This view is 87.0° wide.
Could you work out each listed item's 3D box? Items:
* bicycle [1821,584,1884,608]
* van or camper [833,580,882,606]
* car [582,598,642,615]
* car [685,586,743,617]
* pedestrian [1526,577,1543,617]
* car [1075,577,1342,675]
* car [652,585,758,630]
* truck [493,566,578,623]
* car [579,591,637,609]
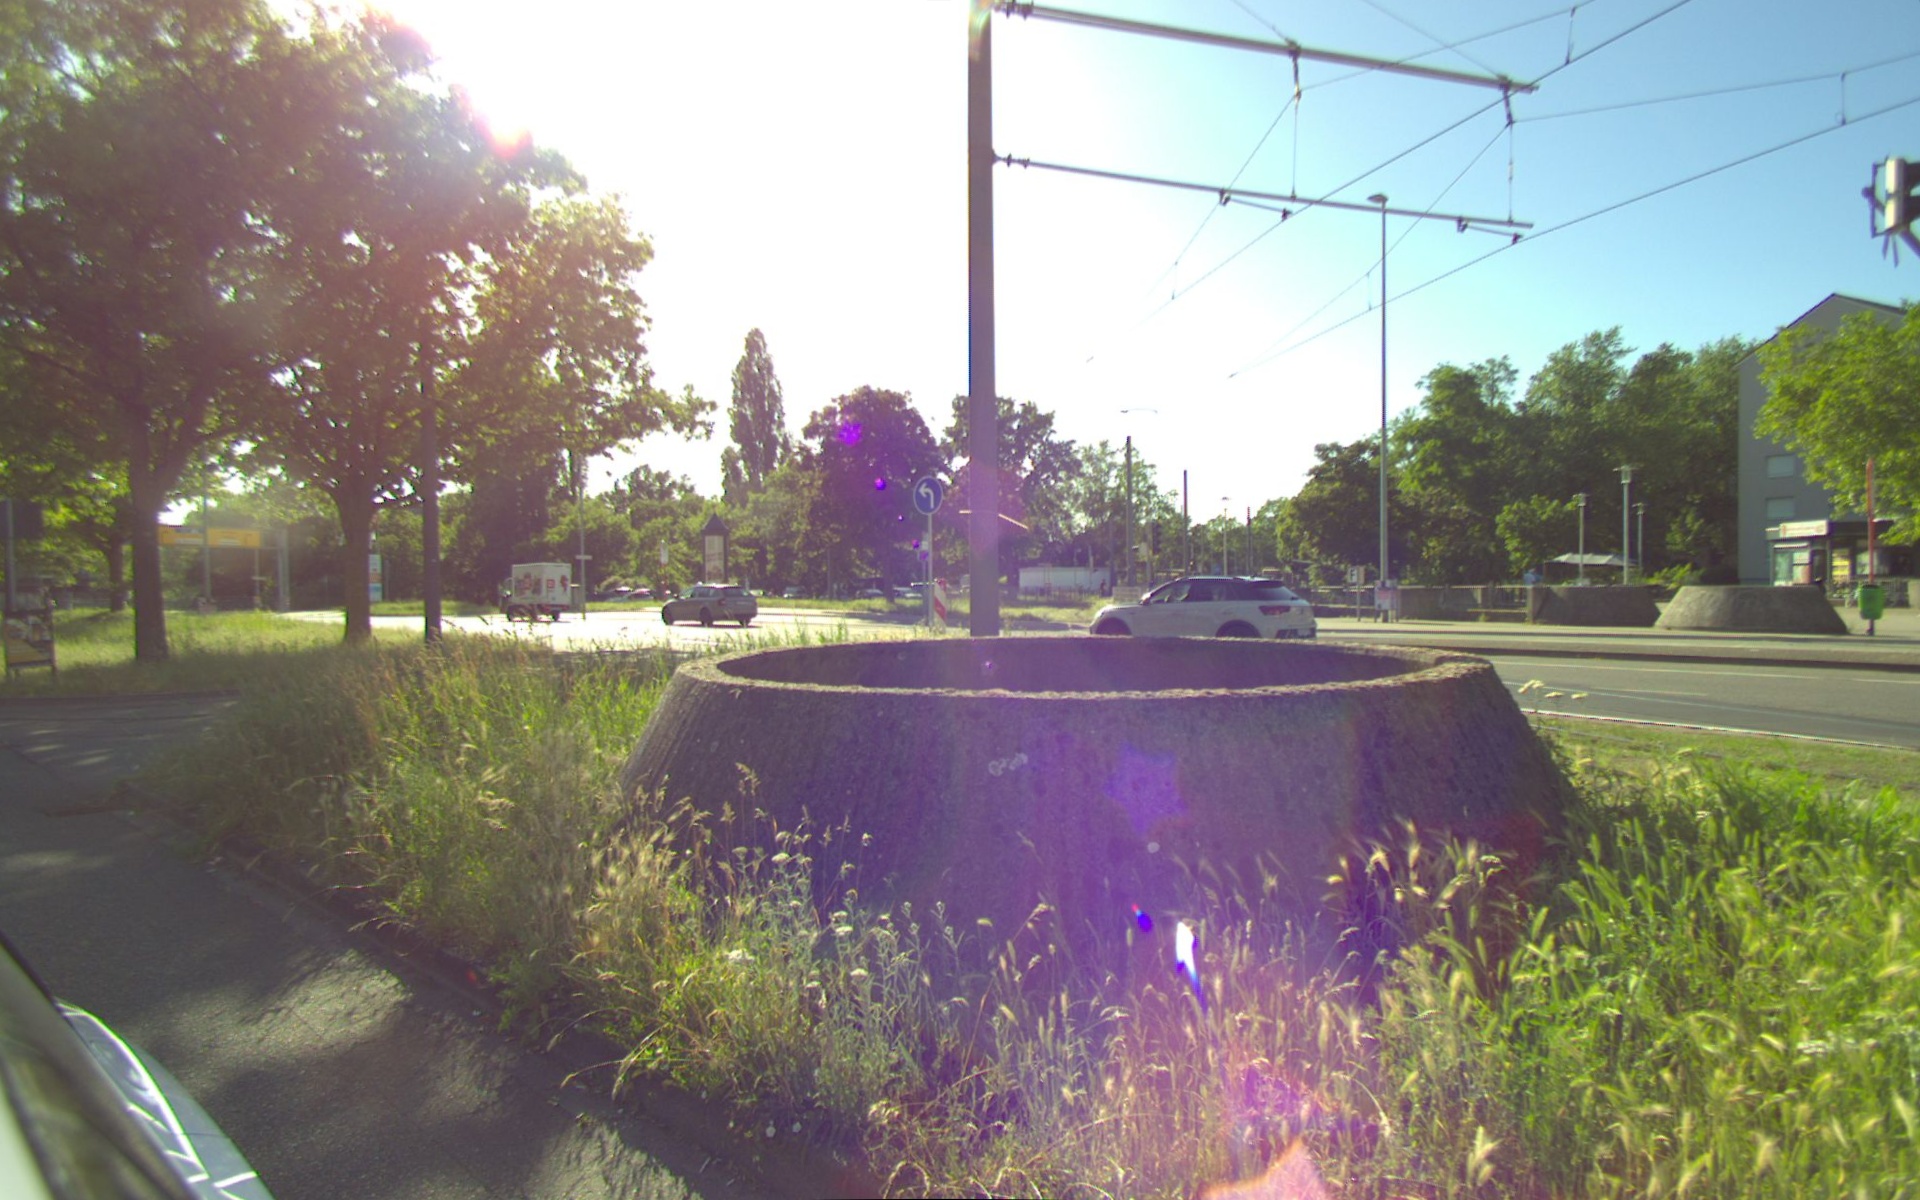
[{"bbox_3d":[31.439,-0.149,35.666,0.539,0.845,1.689,-1,1,-9],"label":"bicycle"},{"bbox_3d":[-8.605,-0.556,84.938,1.969,2.112,4.409,-2,1,-40],"label":"van or camper"},{"bbox_3d":[-24.766,0.497,71.992,3.980,1.137,1.805,-1,1,27],"label":"car"},{"bbox_3d":[-17.083,0.094,70.572,2.213,2.029,4.988,-1,1,8],"label":"car"},{"bbox_3d":[26.698,-0.133,47.000,0.555,1.843,0.723,-1,1,20],"label":"pedestrian"},{"bbox_3d":[4.447,0.402,18.604,1.971,1.574,4.389,-2,1,-45],"label":"car"},{"bbox_3d":[-9.165,0.246,36.135,1.644,1.459,4.405,-2,1,-45],"label":"car"},{"bbox_3d":[-19.040,-0.253,45.290,4.106,2.445,1.770,0,1,40],"label":"truck"},{"bbox_3d":[-31.884,0.029,91.686,4.498,1.475,1.998,-1,2,4],"label":"car"}]
